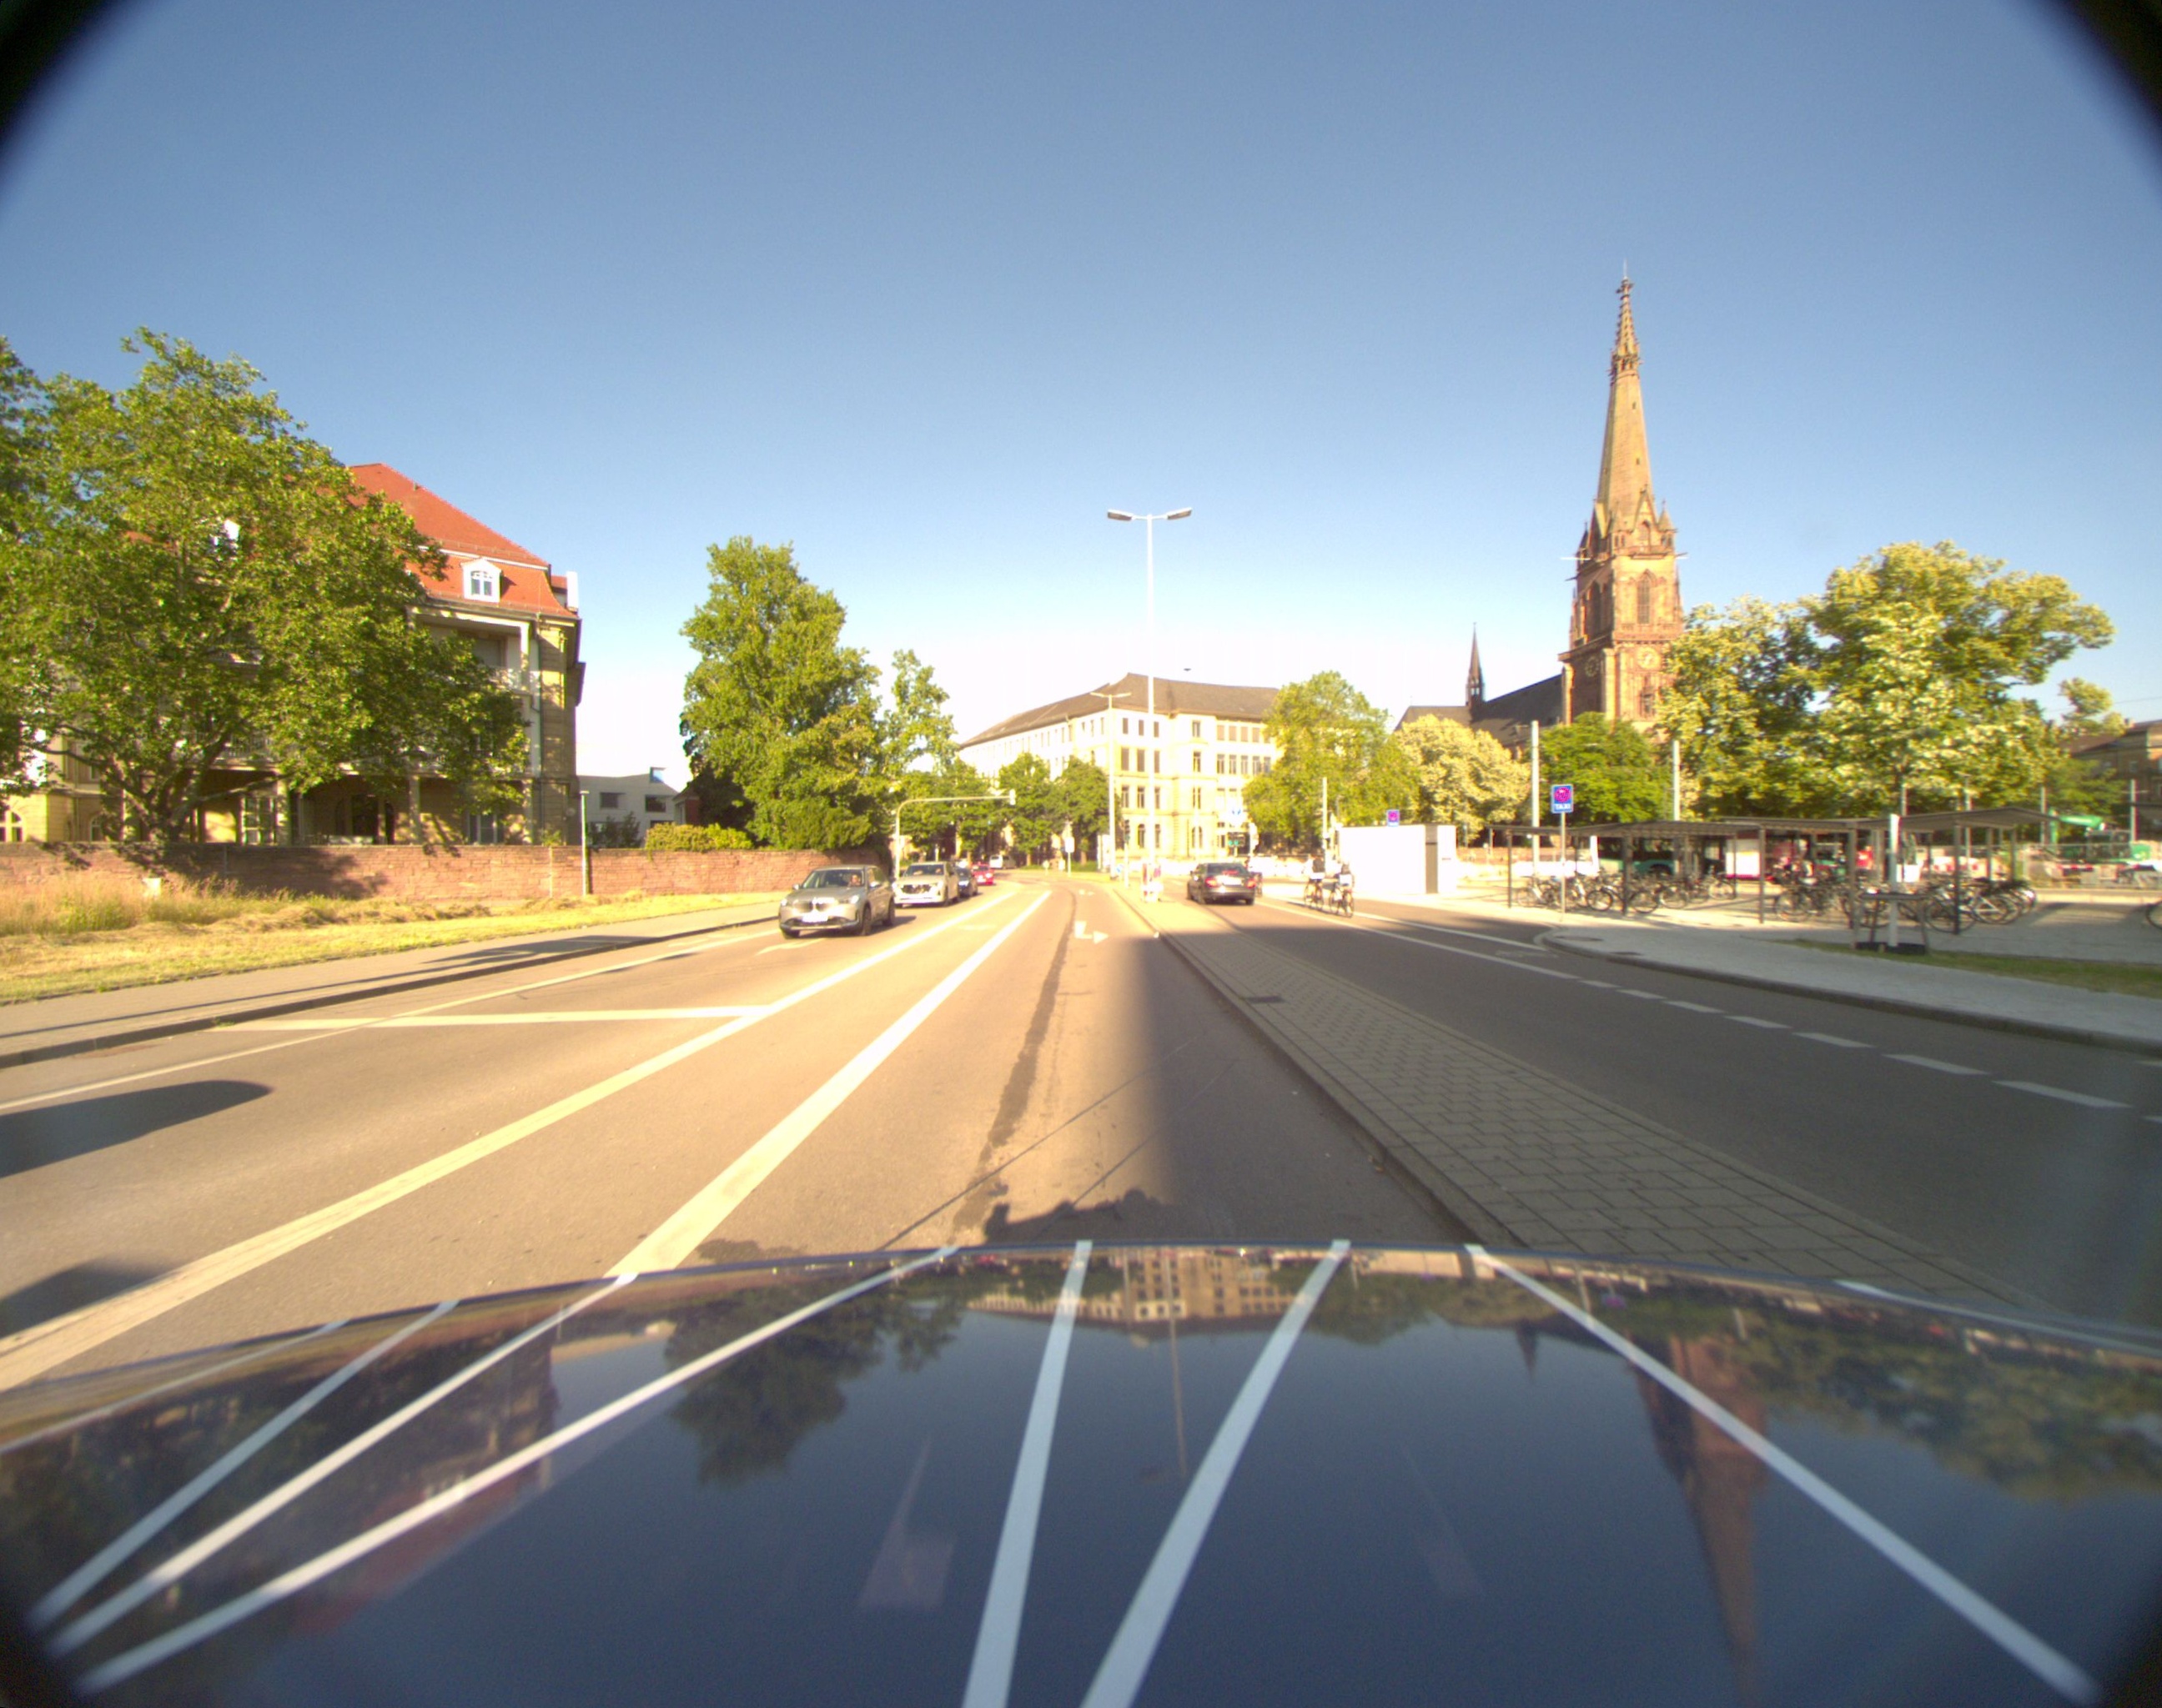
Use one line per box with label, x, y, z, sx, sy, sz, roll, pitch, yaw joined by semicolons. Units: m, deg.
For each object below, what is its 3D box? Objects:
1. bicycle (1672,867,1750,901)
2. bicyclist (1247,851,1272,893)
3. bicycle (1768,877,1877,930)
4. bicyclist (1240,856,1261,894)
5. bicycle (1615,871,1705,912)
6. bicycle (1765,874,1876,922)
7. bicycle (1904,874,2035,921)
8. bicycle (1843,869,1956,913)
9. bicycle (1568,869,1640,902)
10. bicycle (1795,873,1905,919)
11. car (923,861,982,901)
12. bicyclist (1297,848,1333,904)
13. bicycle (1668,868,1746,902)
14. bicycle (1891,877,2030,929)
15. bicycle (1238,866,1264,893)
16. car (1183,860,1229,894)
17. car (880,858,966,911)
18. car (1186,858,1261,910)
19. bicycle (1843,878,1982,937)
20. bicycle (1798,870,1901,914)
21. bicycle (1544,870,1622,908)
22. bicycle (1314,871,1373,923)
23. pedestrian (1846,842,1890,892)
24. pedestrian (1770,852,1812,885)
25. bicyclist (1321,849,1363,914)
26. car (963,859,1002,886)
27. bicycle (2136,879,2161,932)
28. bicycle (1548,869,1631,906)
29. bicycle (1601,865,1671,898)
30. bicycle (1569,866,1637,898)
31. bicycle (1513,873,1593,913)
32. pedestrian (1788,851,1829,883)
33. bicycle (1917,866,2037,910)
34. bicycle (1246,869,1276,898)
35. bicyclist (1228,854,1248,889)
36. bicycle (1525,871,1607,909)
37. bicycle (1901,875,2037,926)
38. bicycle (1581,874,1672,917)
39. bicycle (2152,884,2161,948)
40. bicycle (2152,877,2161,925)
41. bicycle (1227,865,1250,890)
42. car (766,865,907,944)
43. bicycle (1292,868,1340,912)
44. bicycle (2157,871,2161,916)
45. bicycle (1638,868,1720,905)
bicycle;21.175;0.993;25.582;0.418;1.049;1.968;-3;2;-34
bicyclist;7.223;0.720;30.738;0.865;1.643;0.944;0;1;6
bicycle;17.414;1.142;17.891;0.486;1.099;1.796;-4;3;-41
bicyclist;7.489;0.914;33.620;0.865;1.643;0.945;0;1;8
bicycle;16.953;1.083;22.299;0.759;1.049;1.968;-3;2;-35
bicycle;18.827;1.092;19.381;0.867;1.038;1.926;-3;3;-37
bicycle;22.374;1.072;19.185;0.605;1.038;2.102;-3;3;-37
bicycle;22.570;1.000;21.000;0.567;1.083;2.066;-3;3;-36
bicycle;17.842;1.056;25.967;0.512;1.049;1.968;-4;3;-42
bicycle;20.181;1.078;19.981;0.768;1.038;1.926;-3;3;-37
car;-6.006;1.218;36.104;2.194;1.576;4.605;-2;1;-3
bicyclist;7.207;0.669;23.432;0.764;1.659;1.062;-2;1;3
bicycle;20.825;1.009;25.336;0.418;1.049;1.968;-3;2;-34
bicycle;20.289;1.093;17.576;0.605;1.038;2.028;-3;2;-34
bicycle;7.489;1.120;33.541;0.881;1.091;2.189;0;1;6
car;5.474;0.975;33.607;1.383;1.330;3.503;0;0;-1
car;-5.828;1.061;28.693;2.194;1.674;4.606;-2;1;0
car;4.741;0.964;25.818;1.805;1.436;3.977;-1;2;1
bicycle;17.956;1.131;16.460;0.568;1.099;1.968;-3;3;-35
bicycle;21.144;1.026;20.935;0.537;1.083;1.926;-3;3;-36
bicycle;15.758;1.086;23.899;0.684;1.049;1.931;-3;2;-34
bicycle;6.979;1.112;20.329;0.764;1.180;2.606;-2;1;3
pedestrian;32.518;0.516;31.384;1.136;2.002;1.027;-3;1;-32
pedestrian;30.802;0.617;32.959;1.055;1.341;1.076;-3;1;-32
bicyclist;6.949;0.710;20.275;0.764;1.659;1.062;-2;1;3
car;-6.633;1.193;51.550;2.194;1.576;4.605;-2;1;-3
bicycle;22.380;1.056;14.948;0.524;1.038;1.843;-3;3;-40
bicycle;16.807;1.085;25.164;0.839;1.049;2.113;-3;3;-37
bicycle;19.790;0.965;27.140;0.418;1.049;1.968;-3;2;-34
bicycle;18.853;1.000;27.489;0.498;1.049;1.968;-3;3;-38
bicycle;13.805;1.118;22.284;0.568;1.049;1.968;-3;2;-30
pedestrian;32.275;0.585;33.705;1.055;1.341;1.076;-3;1;-32
bicycle;24.296;0.900;20.649;0.567;1.083;2.066;-3;3;-36
bicycle;7.205;1.160;30.499;0.881;1.091;2.189;0;1;6
bicyclist;7.457;0.807;36.076;0.865;1.643;0.944;0;1;6
bicycle;14.909;1.084;23.413;0.684;1.049;2.017;-3;2;-34
bicycle;21.215;1.080;18.207;0.605;1.038;2.029;-3;2;-31
bicycle;15.147;1.131;21.149;0.568;1.049;1.968;-3;3;-37
bicycle;20.342;1.102;13.104;0.746;1.099;2.119;-3;1;-39
bicycle;24.485;1.046;16.175;0.524;1.038;1.926;-3;3;-36
bicycle;7.468;1.094;36.079;0.881;1.091;2.189;0;1;6
car;-5.741;1.111;18.477;2.155;1.611;4.361;0;0;-3
bicycle;7.223;1.072;23.501;0.764;1.180;2.606;-2;1;3
bicycle;26.405;0.955;17.445;0.524;1.038;1.926;-3;3;-36
bicycle;19.001;1.019;24.194;0.568;1.049;1.968;-3;3;-37
